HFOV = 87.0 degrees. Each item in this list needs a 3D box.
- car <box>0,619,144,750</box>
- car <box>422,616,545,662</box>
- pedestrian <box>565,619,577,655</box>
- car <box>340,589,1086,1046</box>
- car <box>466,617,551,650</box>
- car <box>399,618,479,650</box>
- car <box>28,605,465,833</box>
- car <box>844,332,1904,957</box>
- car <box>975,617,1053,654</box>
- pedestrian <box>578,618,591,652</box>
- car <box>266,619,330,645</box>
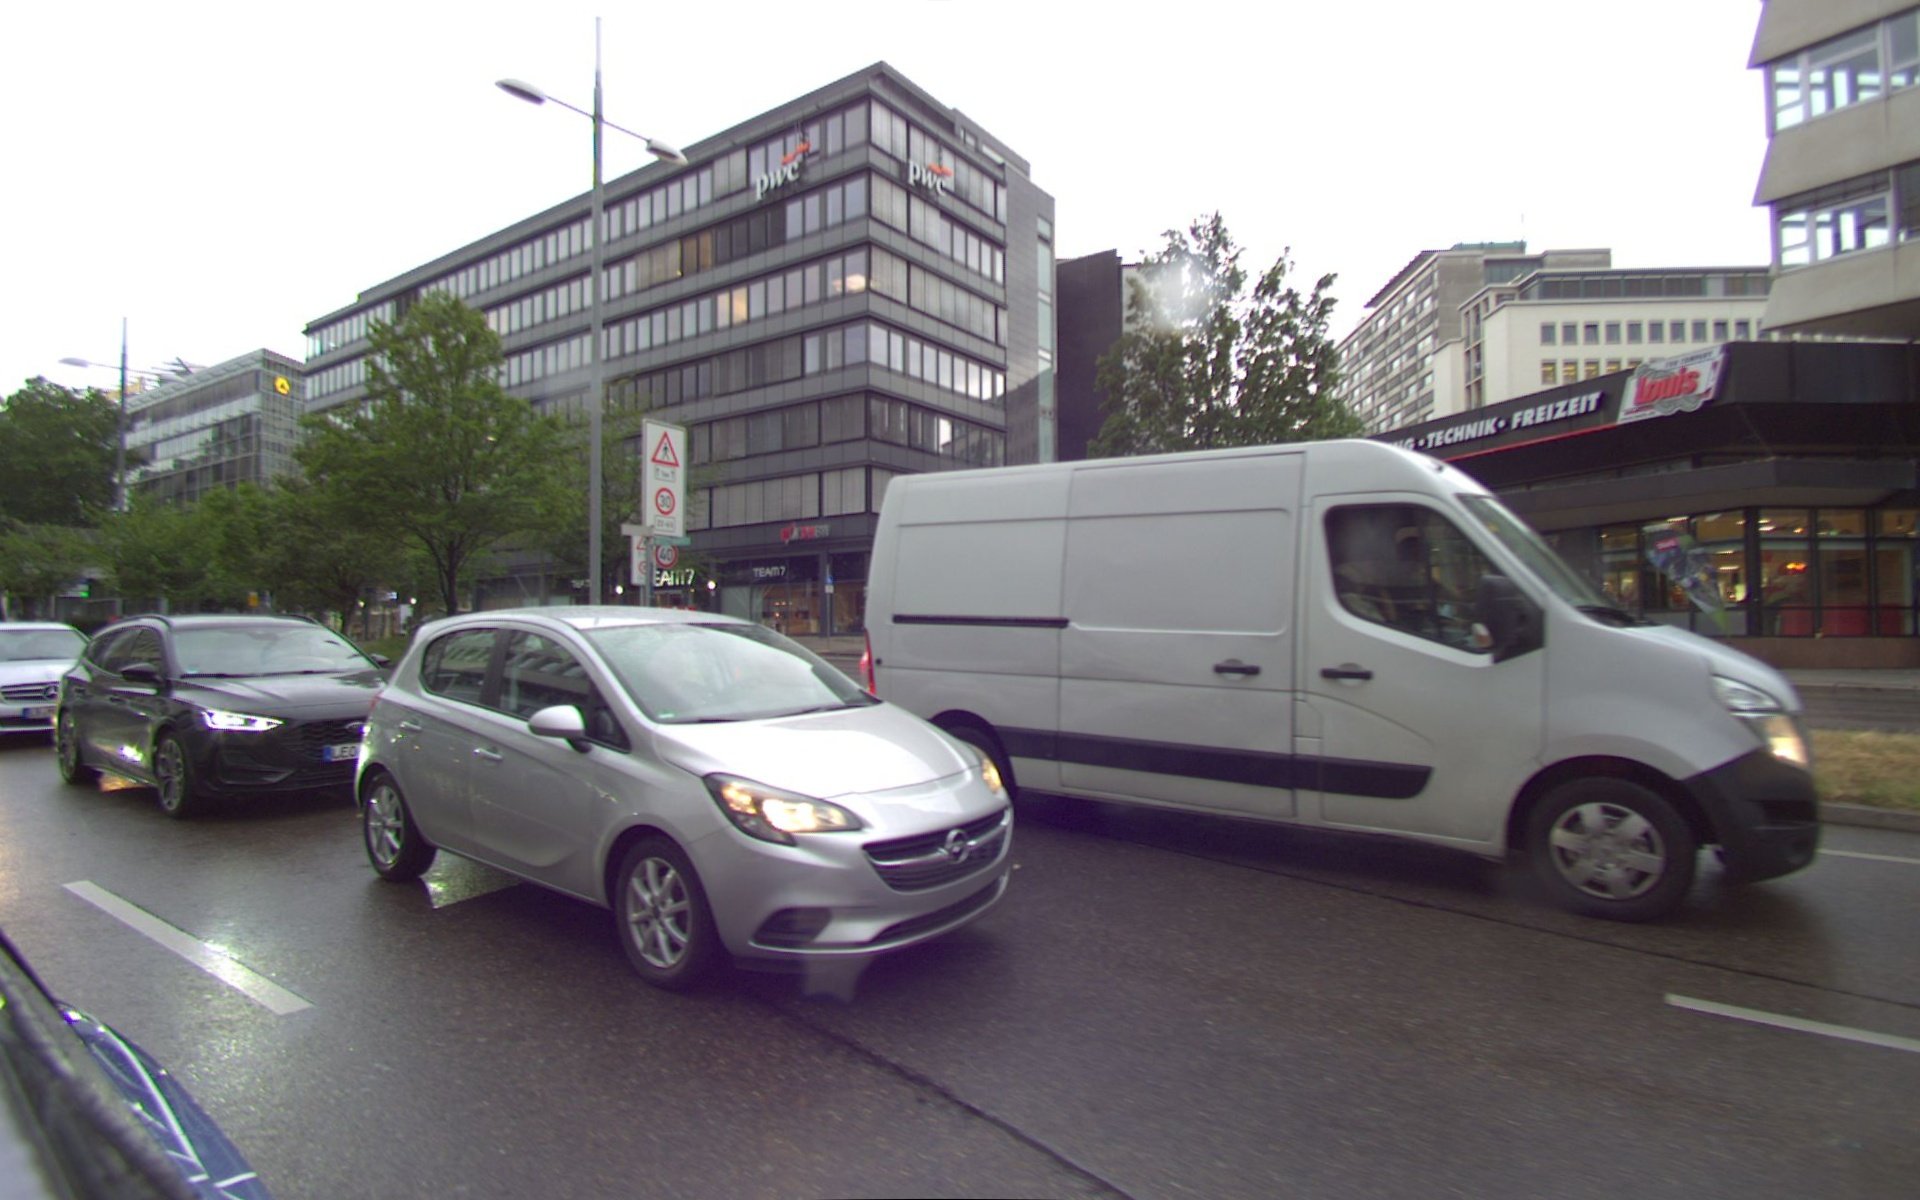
[{"bbox_3d":[-11.755,0.955,12.509,4.089,1.391,1.754,-1,-1,39],"label":"car"},{"bbox_3d":[-15.491,1.249,32.857,3.986,1.383,1.733,-1,-1,31],"label":"car"},{"bbox_3d":[-22.102,2.123,57.479,0.296,2.029,0.535,-1,-1,34],"label":"pedestrian"},{"bbox_3d":[-1.457,0.717,5.075,3.871,1.446,1.632,-1,-1,39],"label":"car"},{"bbox_3d":[-21.454,1.580,48.077,3.991,1.518,1.976,-1,-1,36],"label":"car"},{"bbox_3d":[-26.704,1.721,51.843,4.098,1.518,1.976,-1,-1,36],"label":"car"},{"bbox_3d":[-6.043,0.804,8.423,4.086,1.446,1.756,-1,-1,36],"label":"car"},{"bbox_3d":[1.979,0.216,6.346,5.467,2.459,1.930,-1,-1,35],"label":"car"},{"bbox_3d":[2.515,1.602,46.693,1.846,1.596,3.717,-1,-1,36],"label":"car"},{"bbox_3d":[-22.071,2.056,59.538,0.460,2.029,0.568,-1,-1,35],"label":"pedestrian"},{"bbox_3d":[-40.203,1.937,61.435,3.991,1.518,1.976,-1,-1,36],"label":"car"}]
